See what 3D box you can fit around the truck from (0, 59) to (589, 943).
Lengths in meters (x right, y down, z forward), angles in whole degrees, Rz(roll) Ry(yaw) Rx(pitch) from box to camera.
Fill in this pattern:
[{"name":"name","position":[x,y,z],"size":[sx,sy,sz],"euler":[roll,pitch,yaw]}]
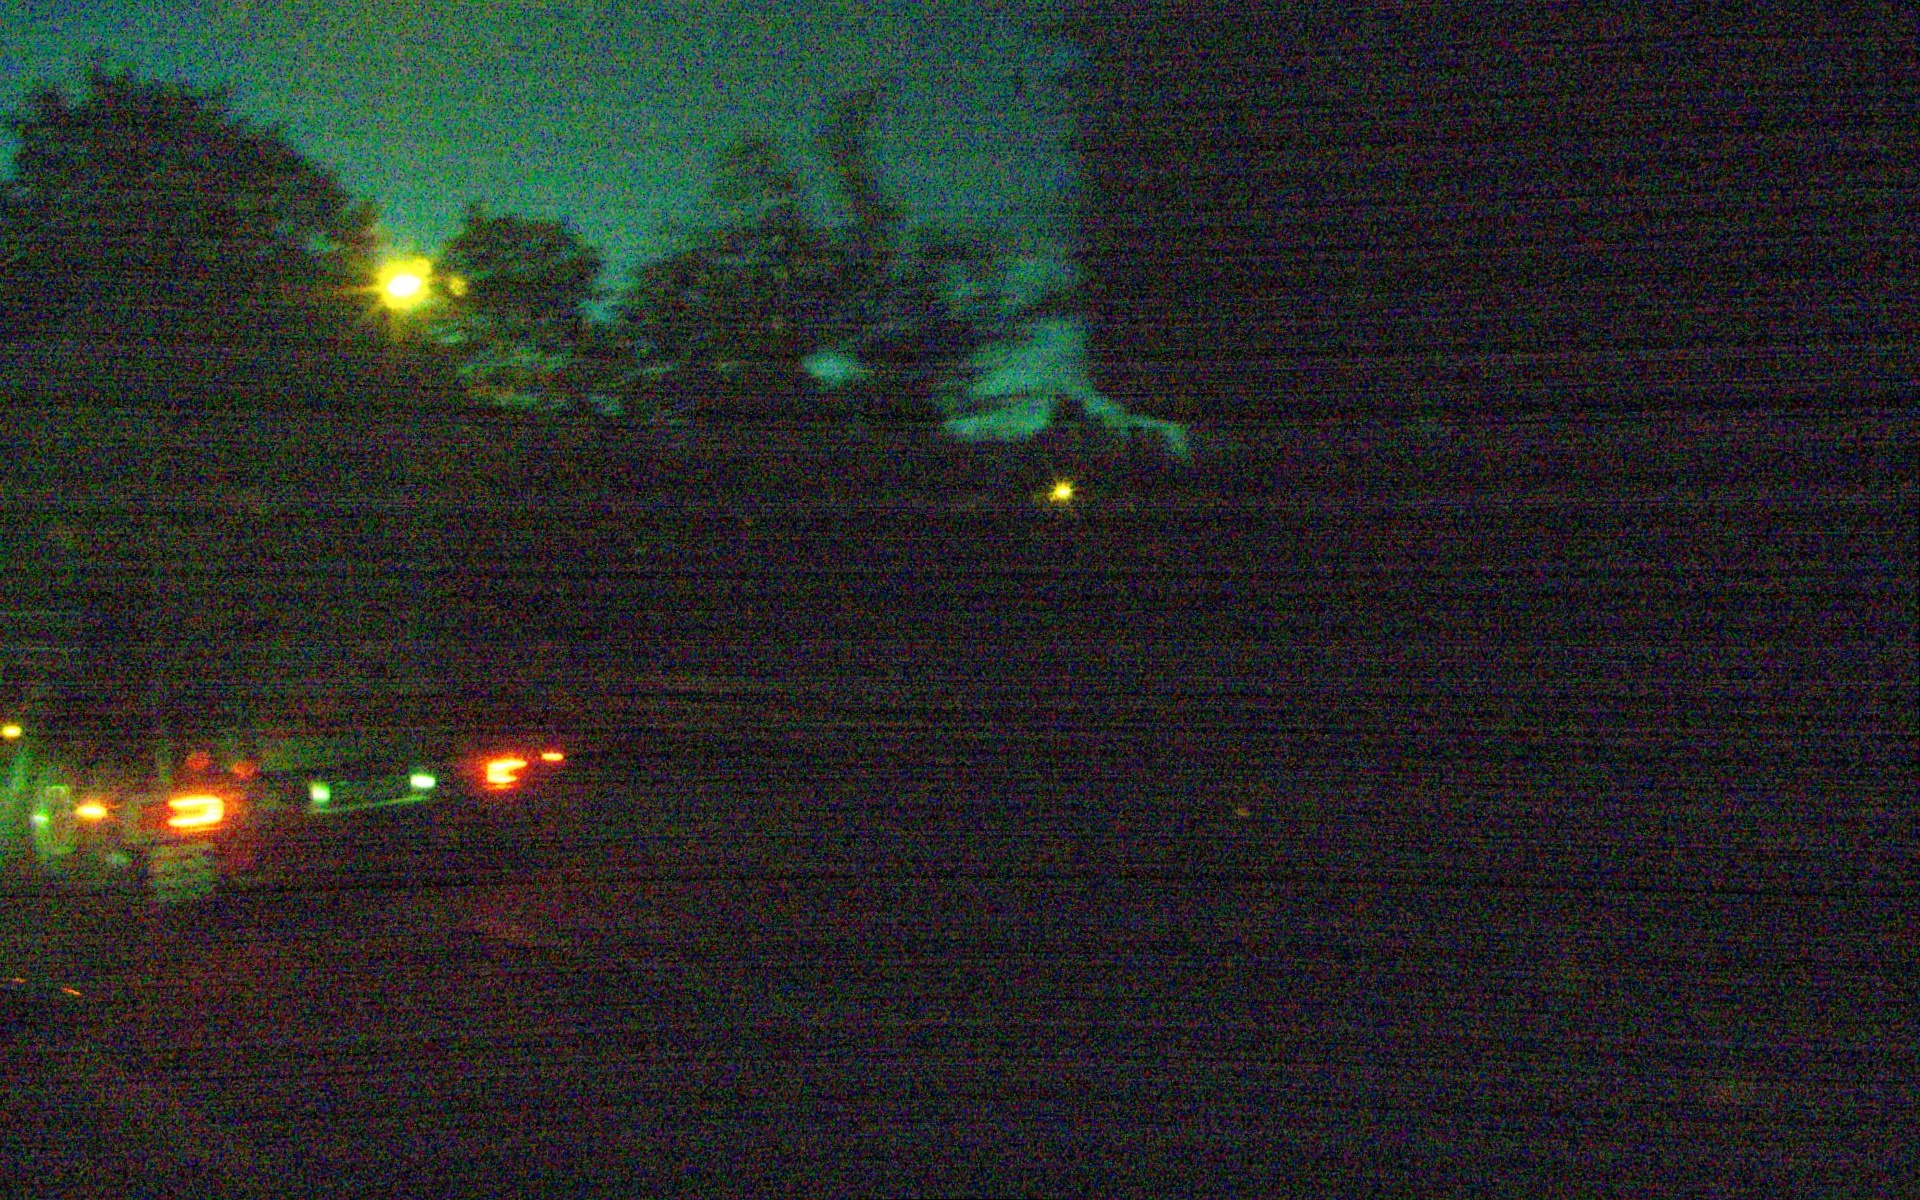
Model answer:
[{"name":"truck","position":[-8.758,-0.293,9.320],"size":[12.955,4.158,2.683],"euler":[-1,-2,32]}]
